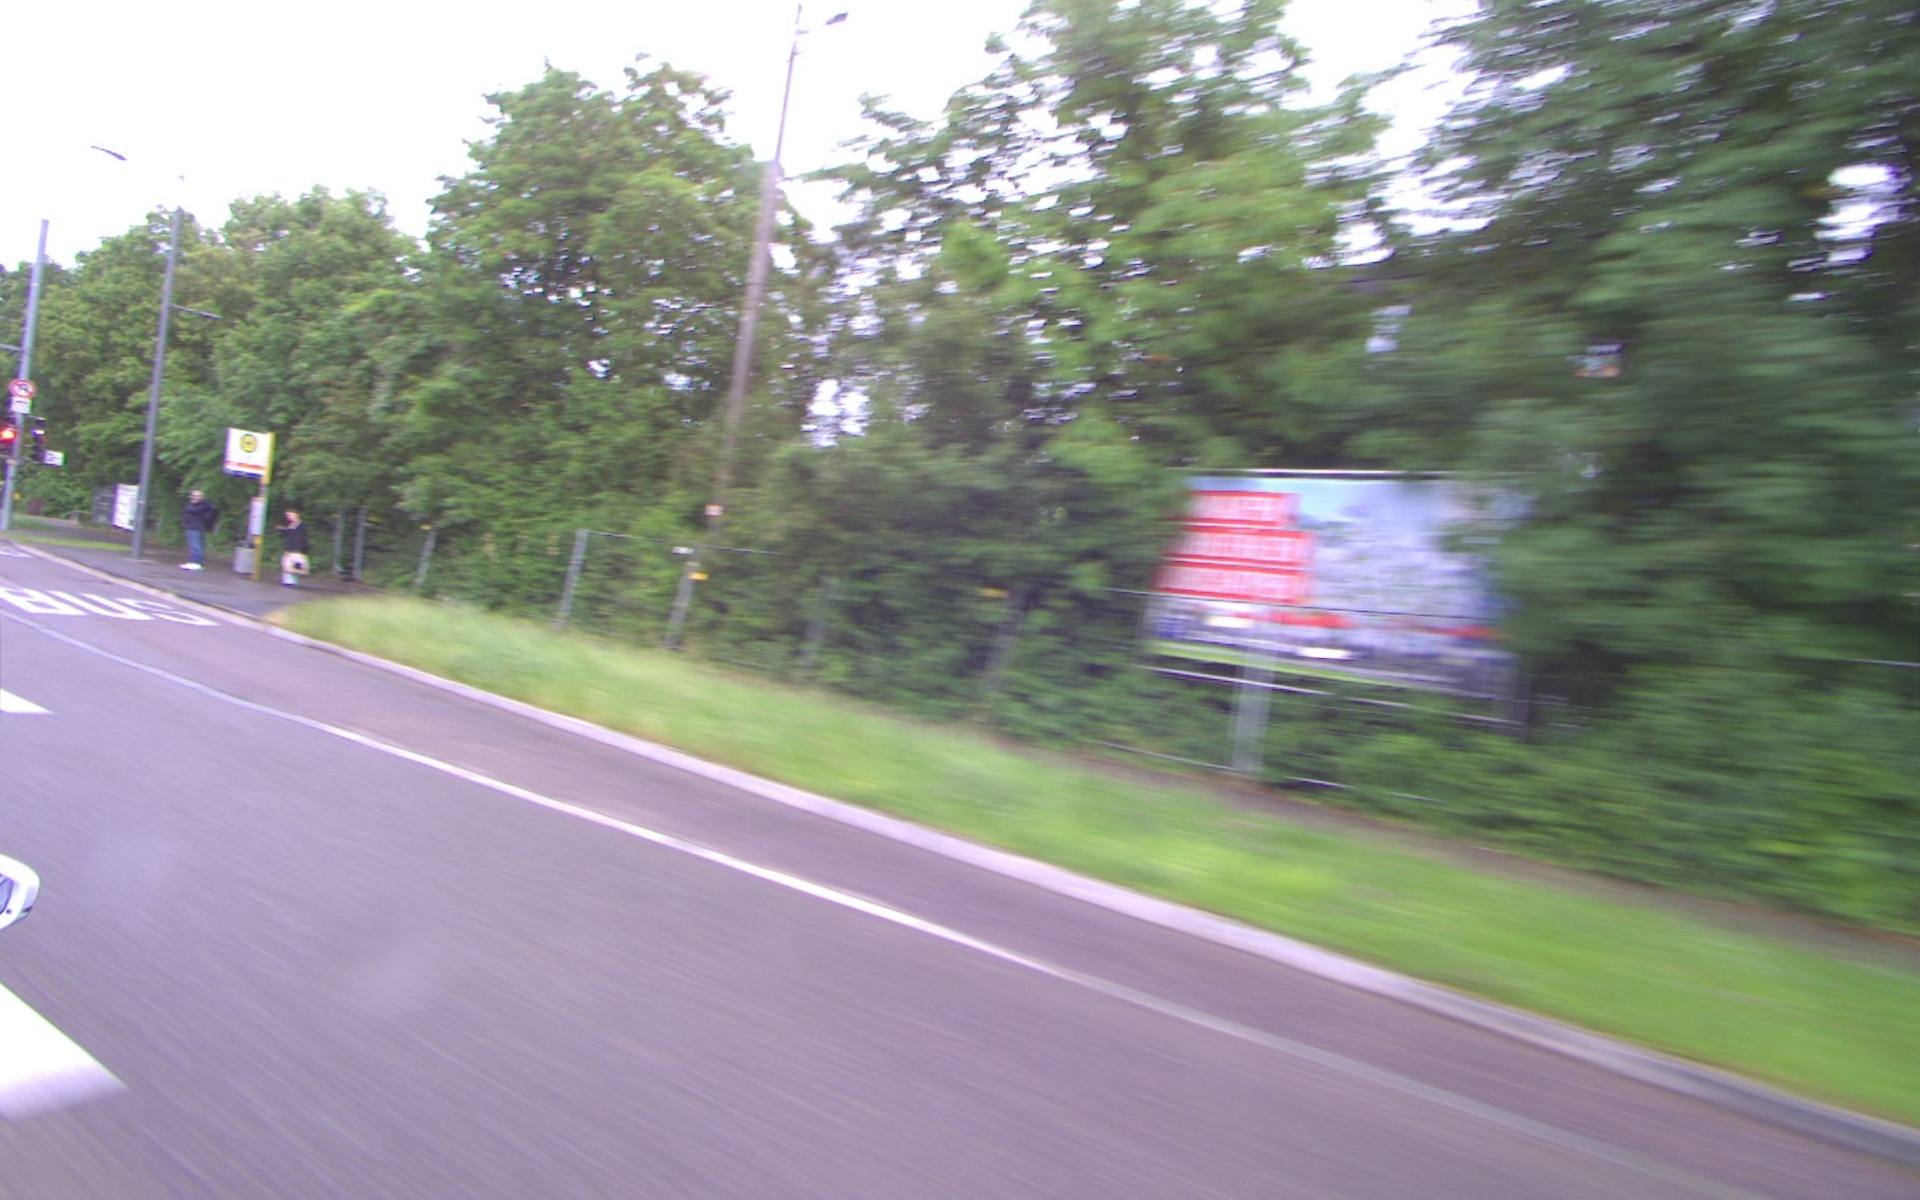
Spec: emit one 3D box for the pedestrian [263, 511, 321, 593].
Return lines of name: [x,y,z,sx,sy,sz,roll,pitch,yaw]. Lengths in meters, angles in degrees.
pedestrian: [-14.725,-1.050,22.184,0.780,1.678,0.676,8,1,33]

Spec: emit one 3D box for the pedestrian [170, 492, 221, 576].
pedestrian: [-18.626,-1.608,24.500,0.706,1.924,0.641,8,1,33]
